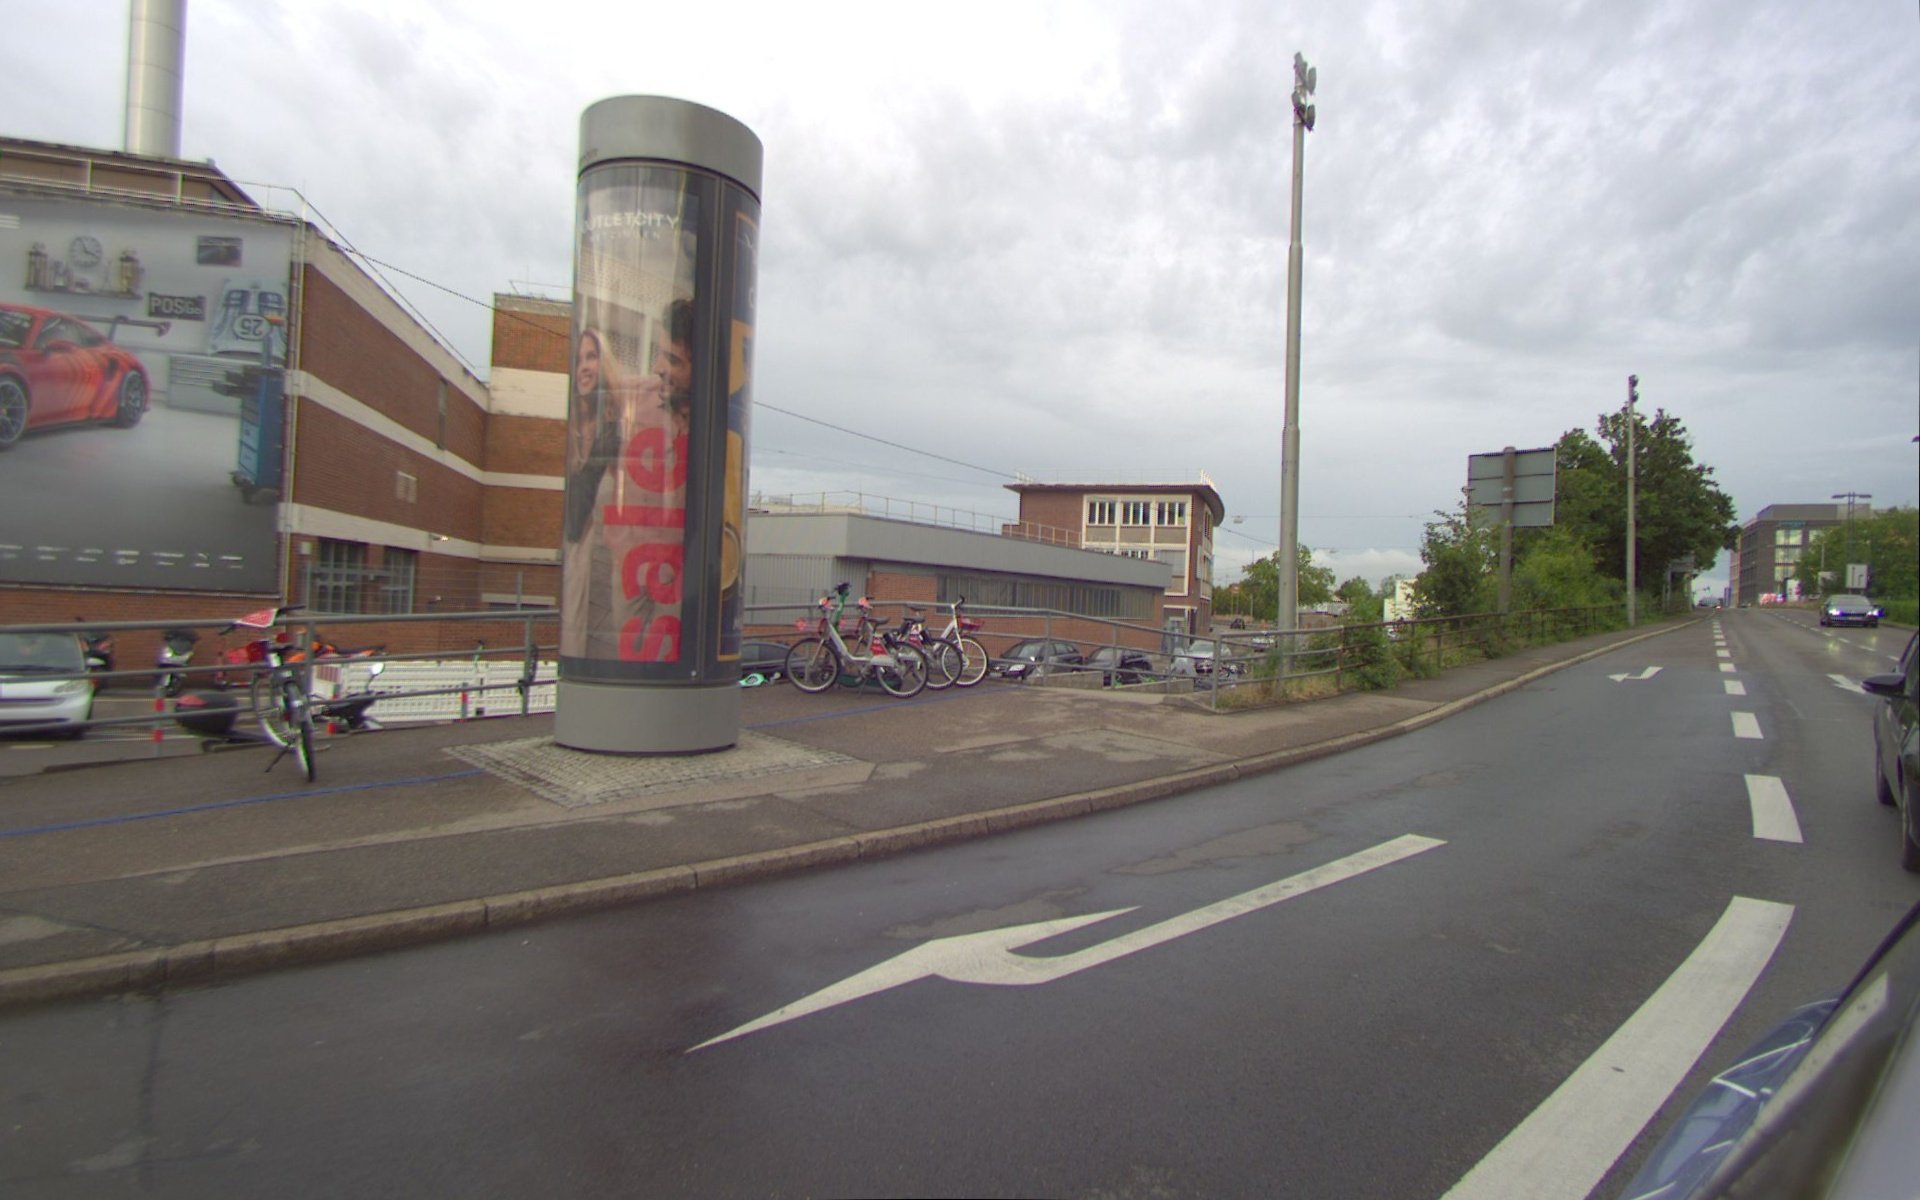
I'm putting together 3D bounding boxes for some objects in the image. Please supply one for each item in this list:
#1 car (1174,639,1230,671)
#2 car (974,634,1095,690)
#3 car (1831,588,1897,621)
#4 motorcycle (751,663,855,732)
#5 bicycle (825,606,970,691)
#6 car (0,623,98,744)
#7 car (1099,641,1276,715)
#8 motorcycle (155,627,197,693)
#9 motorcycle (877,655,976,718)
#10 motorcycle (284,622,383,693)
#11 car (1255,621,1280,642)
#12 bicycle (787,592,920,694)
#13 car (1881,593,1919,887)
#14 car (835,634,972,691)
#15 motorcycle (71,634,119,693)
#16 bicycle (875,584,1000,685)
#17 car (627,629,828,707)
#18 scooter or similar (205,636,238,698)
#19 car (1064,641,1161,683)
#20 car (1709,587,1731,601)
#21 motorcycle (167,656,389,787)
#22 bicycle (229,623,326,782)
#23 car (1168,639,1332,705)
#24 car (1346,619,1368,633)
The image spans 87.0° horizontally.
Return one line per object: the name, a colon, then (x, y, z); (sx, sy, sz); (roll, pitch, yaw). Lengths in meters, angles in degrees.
car: (12.170, 2.701, 50.670); (1.718, 1.406, 3.958); (1, -1, 29)
car: (2.589, 2.038, 34.340); (1.777, 1.688, 4.438); (1, -1, 41)
car: (41.037, 0.188, 46.001); (1.807, 1.457, 4.246); (0, 0, 36)
motorcycle: (-2.346, 1.433, 15.064); (1.600, 0.933, 0.417); (0, 0, 27)
bicycle: (-0.735, 0.572, 12.126); (1.673, 0.933, 0.486); (1, 1, 4)
car: (-13.997, 1.152, 15.140); (1.541, 1.508, 3.992); (2, -1, -42)
car: (5.313, 1.778, 24.078); (1.688, 1.444, 3.999); (2, -1, -36)
motorcycle: (-15.228, 1.142, 19.680); (0.574, 1.166, 1.720); (-1, 0, -35)
motorcycle: (-0.551, 1.388, 16.430); (1.599, 0.933, 0.418); (0, 0, 25)
motorcycle: (-12.871, 1.157, 20.832); (0.521, 1.350, 1.646); (-1, 0, 38)
car: (23.300, 2.372, 76.586); (1.698, 1.444, 3.976); (1, 0, 18)
bicycle: (-1.221, 0.478, 11.656); (1.438, 1.087, 0.442); (2, 2, 9)
car: (6.777, 0.728, 6.074); (1.687, 1.526, 3.953); (0, 1, 40)
car: (-1.538, 1.729, 28.939); (1.712, 1.444, 3.943); (1, -1, 39)
motorcycle: (-16.166, 1.171, 18.931); (0.531, 0.985, 1.616); (-1, 0, -35)
bicycle: (-0.292, 0.410, 12.850); (1.527, 1.169, 0.448); (3, 3, 22)
car: (-5.376, 1.515, 23.894); (1.880, 1.570, 4.445); (1, -1, 38)
scooter or similar: (-14.637, 1.305, 20.085); (0.495, 1.110, 1.639); (-1, 0, -35)
car: (5.932, 2.333, 39.011); (1.713, 1.422, 4.211); (1, -1, 41)
car: (84.939, -0.648, 113.109); (1.738, 1.493, 4.019); (0, 0, 34)
motorcycle: (-5.729, 0.981, 8.579); (0.400, 0.901, 1.521); (1, 1, 36)
bicycle: (-4.831, 0.660, 7.125); (0.414, 0.933, 1.615); (1, 0, -39)
car: (7.617, 1.846, 26.880); (1.688, 1.444, 3.999); (2, -1, -36)
car: (44.385, 2.906, 113.153); (1.695, 1.444, 3.982); (1, 0, 14)
